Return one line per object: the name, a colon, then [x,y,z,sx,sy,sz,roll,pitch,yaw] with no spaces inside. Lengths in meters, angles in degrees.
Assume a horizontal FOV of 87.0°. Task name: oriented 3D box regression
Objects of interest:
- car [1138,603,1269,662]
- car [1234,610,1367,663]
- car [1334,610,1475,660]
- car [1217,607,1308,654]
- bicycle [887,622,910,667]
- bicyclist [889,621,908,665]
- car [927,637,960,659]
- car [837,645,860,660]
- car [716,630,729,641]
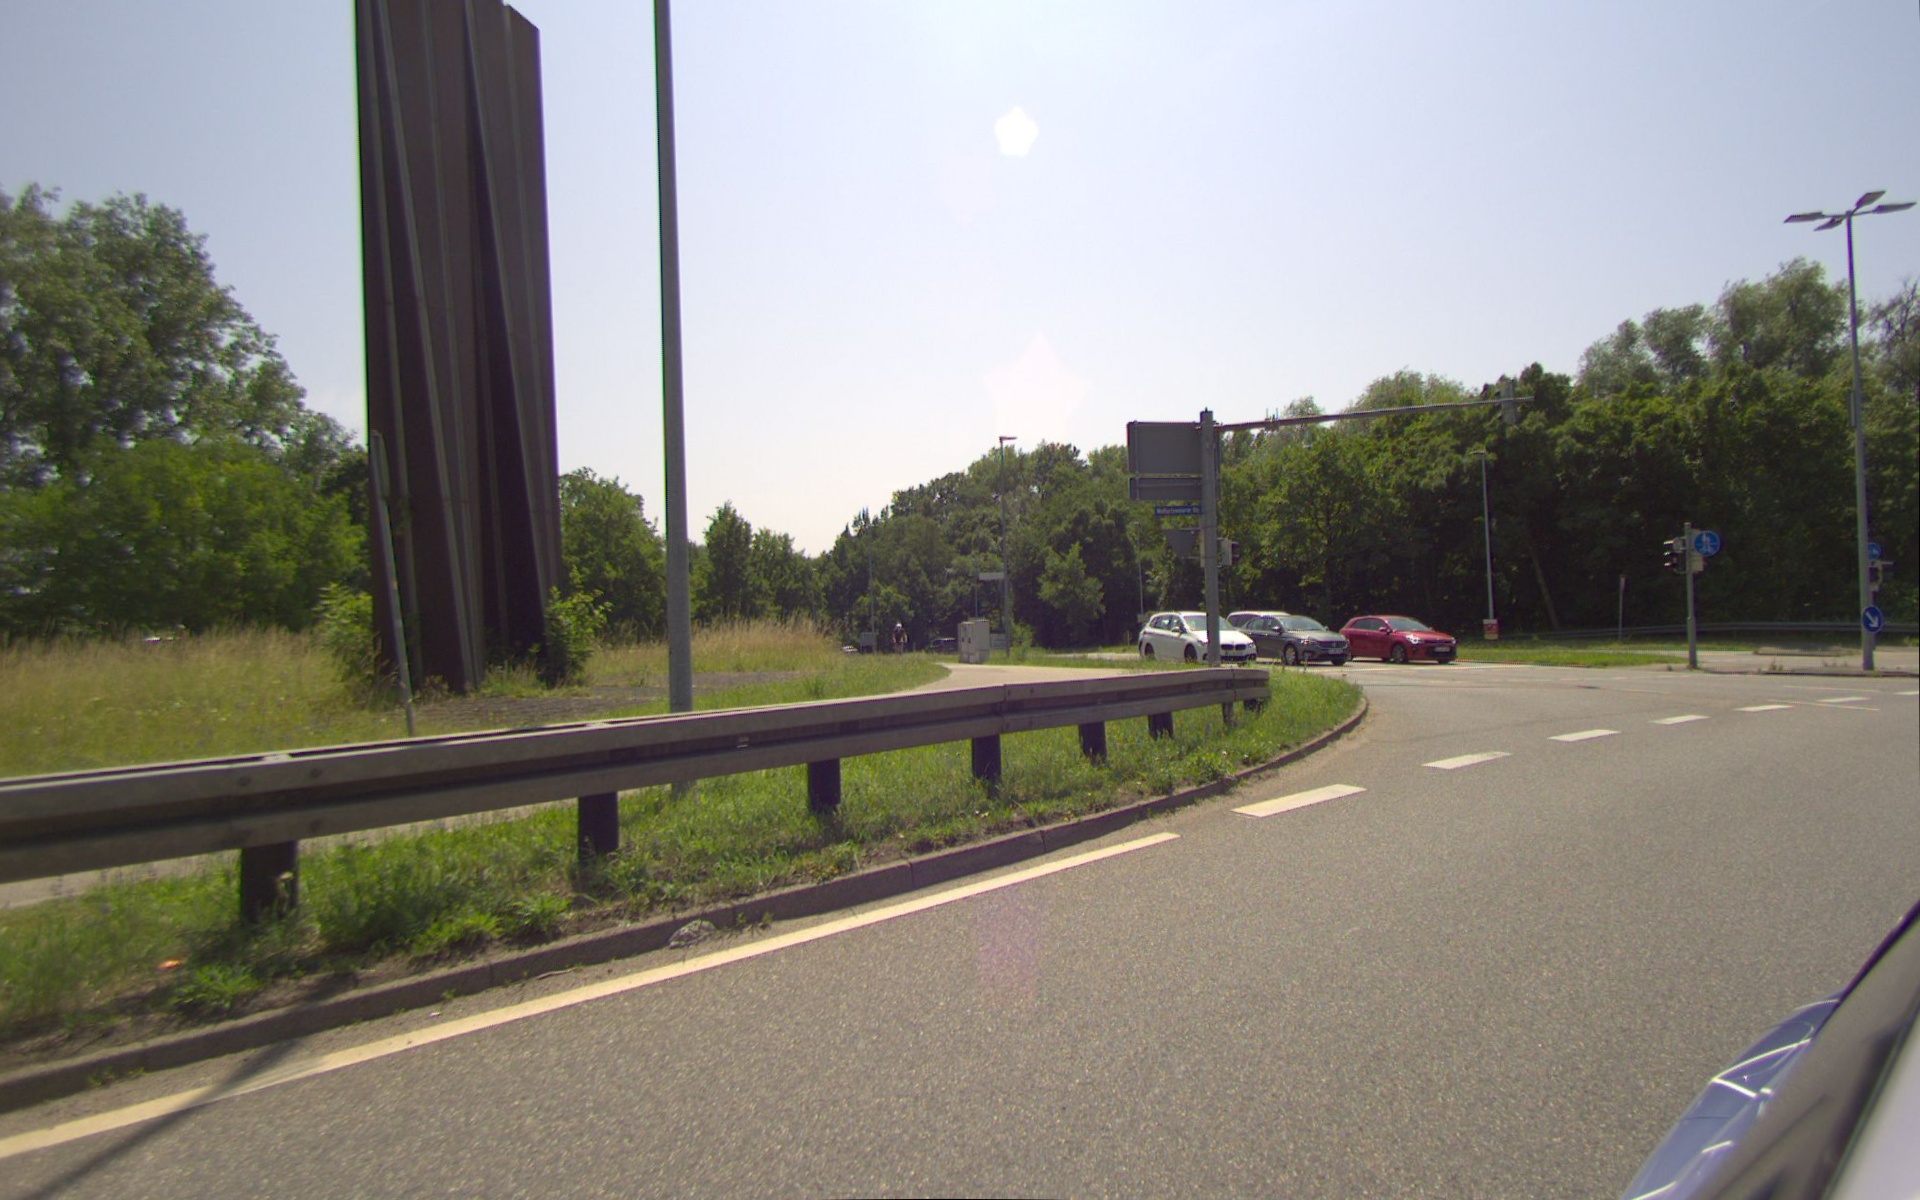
car: [6.781,0.884,28.713,1.829,1.525,4.304,-1,-1,-13]
car: [10.078,1.051,30.308,1.829,1.442,4.193,-1,-1,-13]
car: [13.333,1.020,30.663,1.718,1.372,4.193,-1,-1,-13]
car: [11.501,1.123,38.670,1.549,1.673,3.614,-1,-1,-17]
bicycle: [-2.334,1.647,38.245,0.643,1.594,2.377,-1,-1,-9]
bicyclist: [-2.326,1.617,38.259,0.657,1.619,0.692,-1,-1,-8]
car: [-1.484,4.301,90.832,1.659,1.772,3.698,-1,-1,-24]
car: [-12.392,5.858,112.280,1.474,1.515,3.698,-1,-1,-24]
car: [-37.322,5.568,159.061,1.470,1.631,3.574,-1,-1,-22]
